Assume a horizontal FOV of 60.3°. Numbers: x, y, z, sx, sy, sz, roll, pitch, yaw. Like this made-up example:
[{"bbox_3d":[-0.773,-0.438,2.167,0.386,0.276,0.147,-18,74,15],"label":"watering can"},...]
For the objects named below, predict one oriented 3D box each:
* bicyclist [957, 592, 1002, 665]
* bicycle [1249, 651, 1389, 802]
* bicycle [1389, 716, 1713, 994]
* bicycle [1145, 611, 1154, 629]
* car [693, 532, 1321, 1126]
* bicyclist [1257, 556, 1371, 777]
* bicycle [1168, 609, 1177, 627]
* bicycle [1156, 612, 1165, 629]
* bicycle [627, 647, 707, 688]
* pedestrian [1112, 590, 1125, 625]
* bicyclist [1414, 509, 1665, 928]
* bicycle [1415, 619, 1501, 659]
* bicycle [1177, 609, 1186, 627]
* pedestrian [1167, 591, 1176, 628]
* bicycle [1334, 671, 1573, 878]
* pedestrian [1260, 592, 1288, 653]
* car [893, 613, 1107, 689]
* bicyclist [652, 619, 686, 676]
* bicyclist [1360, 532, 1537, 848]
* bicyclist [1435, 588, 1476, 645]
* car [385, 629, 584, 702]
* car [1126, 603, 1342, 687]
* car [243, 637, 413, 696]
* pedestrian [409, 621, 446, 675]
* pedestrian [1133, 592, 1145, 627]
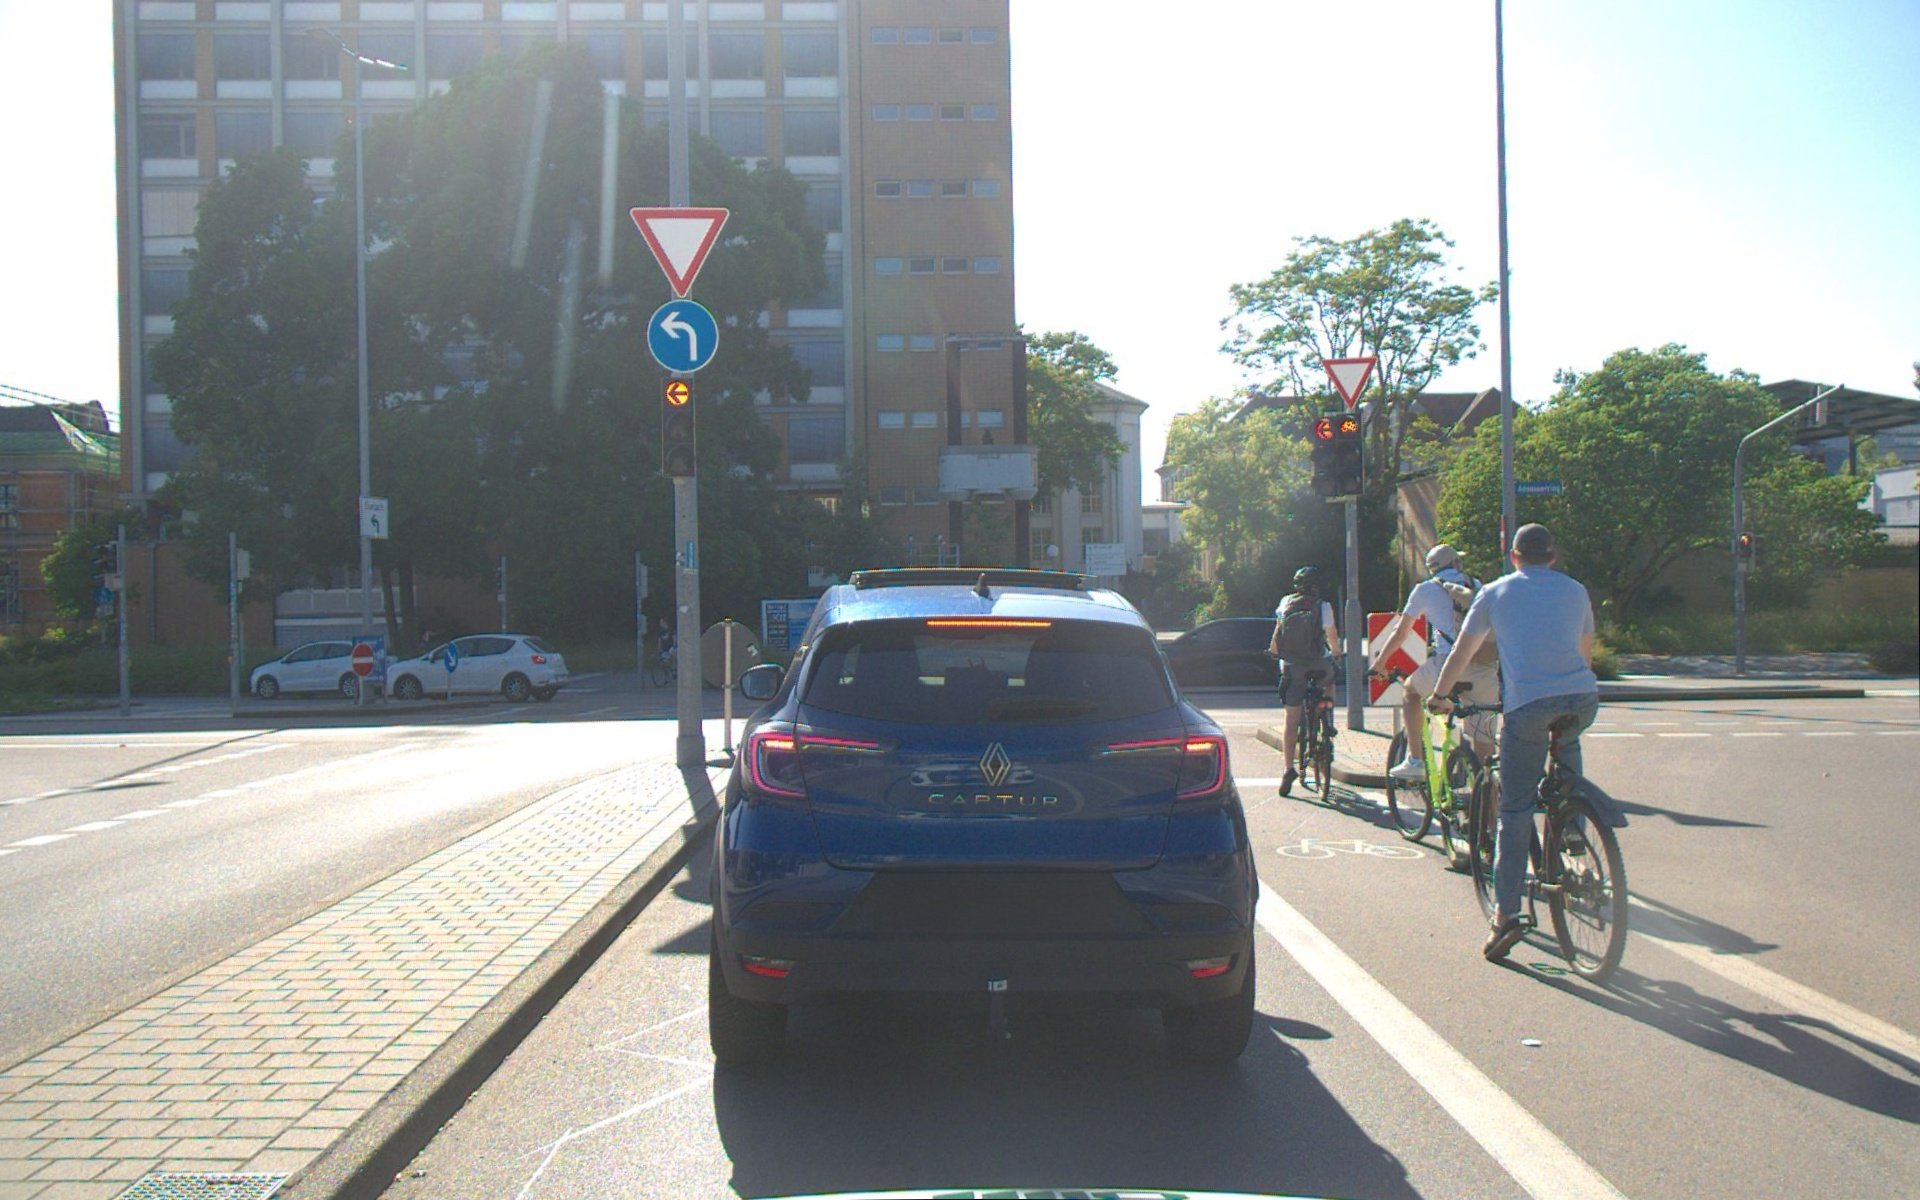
[{"bbox_3d":[0.518,0.758,44.020,1.078,1.900,0.653,-1,0,10],"label":"bicyclist"},{"bbox_3d":[2.759,0.937,12.918,0.723,1.012,2.174,1,0,3],"label":"bicycle"},{"bbox_3d":[2.501,1.036,7.267,0.725,0.911,1.978,1,0,0],"label":"bicycle"},{"bbox_3d":[10.792,1.148,94.217,0.397,0.990,1.684,1,0,3],"label":"bicycle"},{"bbox_3d":[0.059,0.652,6.676,1.767,1.660,3.998,1,0,-3],"label":"car"},{"bbox_3d":[2.758,0.502,12.969,0.711,1.657,0.969,1,0,3],"label":"bicyclist"},{"bbox_3d":[12.153,1.027,94.562,0.397,0.990,1.684,1,0,3],"label":"bicycle"},{"bbox_3d":[11.402,1.158,94.182,0.397,0.990,1.684,1,0,3],"label":"bicycle"},{"bbox_3d":[-7.722,1.767,43.612,1.982,0.981,0.593,-1,0,-28],"label":"bicycle"},{"bbox_3d":[8.659,0.428,90.389,0.610,1.888,0.563,-1,0,3],"label":"pedestrian"},{"bbox_3d":[2.506,0.484,7.265,0.736,1.698,1.016,1,0,0],"label":"bicyclist"},{"bbox_3d":[12.905,1.005,42.908,2.032,0.981,0.599,-1,0,7],"label":"bicycle"},{"bbox_3d":[12.678,1.036,94.583,0.397,0.990,1.684,1,0,3],"label":"bicycle"},{"bbox_3d":[11.825,0.542,92.556,0.465,2.049,0.468,-1,0,5],"label":"pedestrian"},{"bbox_3d":[2.869,0.979,9.839,0.646,1.020,1.967,1,0,-6],"label":"bicycle"},{"bbox_3d":[8.523,0.612,44.882,0.721,1.631,0.599,-1,0,12],"label":"pedestrian"},{"bbox_3d":[0.956,1.171,38.419,4.720,1.660,1.846,-1,0,10],"label":"car"},{"bbox_3d":[-7.674,1.243,43.639,0.728,1.466,0.593,-1,0,-27],"label":"bicyclist"},{"bbox_3d":[2.881,0.510,9.835,0.633,1.769,1.065,1,0,-6],"label":"bicyclist"},{"bbox_3d":[12.848,0.431,42.897,0.916,1.454,0.599,-1,0,7],"label":"bicyclist"},{"bbox_3d":[-10.262,1.404,35.814,3.754,1.460,1.744,-1,0,8],"label":"car"},{"bbox_3d":[5.636,0.916,34.213,4.279,1.660,1.846,-1,0,9],"label":"car"},{"bbox_3d":[-16.189,1.699,42.401,3.754,1.460,1.744,-1,-2,14],"label":"car"},{"bbox_3d":[-16.296,1.465,50.632,0.841,1.598,0.560,-4,0,13],"label":"pedestrian"},{"bbox_3d":[9.930,0.517,91.610,0.599,1.888,0.467,-1,0,5],"label":"pedestrian"}]
